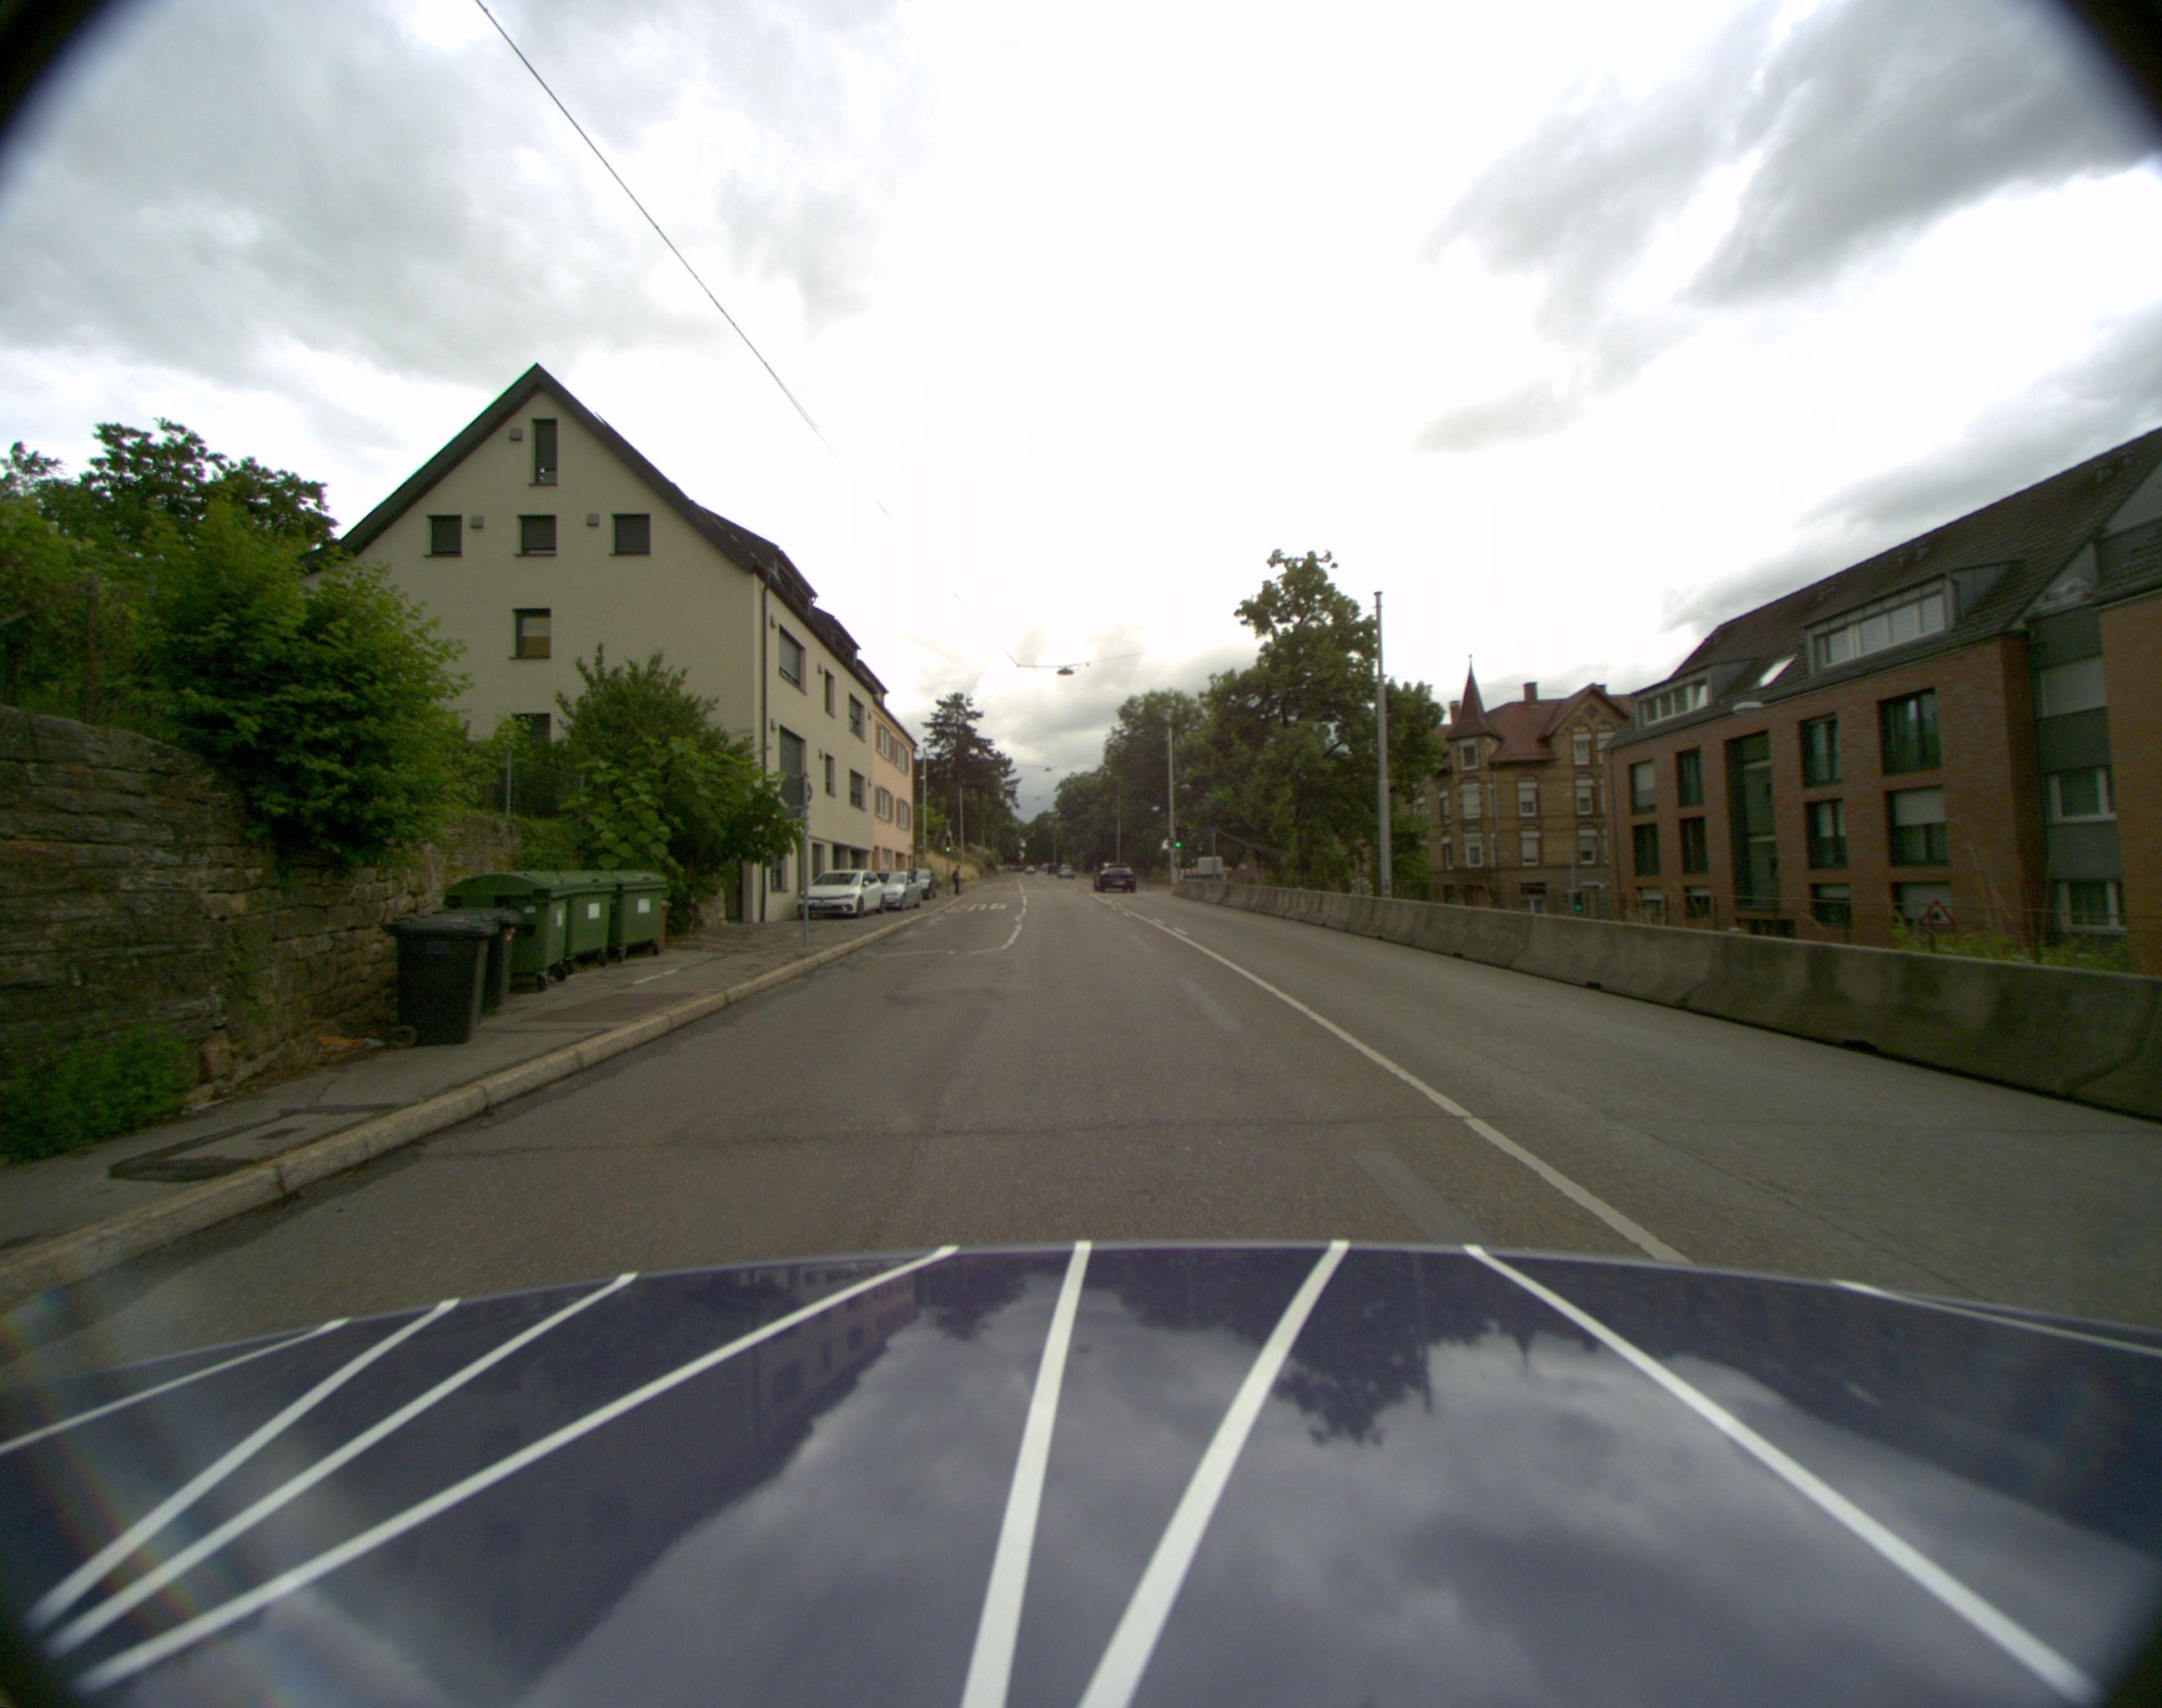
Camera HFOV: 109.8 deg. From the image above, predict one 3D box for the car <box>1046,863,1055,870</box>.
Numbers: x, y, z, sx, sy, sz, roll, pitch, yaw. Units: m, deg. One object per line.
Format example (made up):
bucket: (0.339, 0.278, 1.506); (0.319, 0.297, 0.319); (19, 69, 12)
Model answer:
car: (-6.652, 2.627, 164.282); (1.789, 1.565, 4.279); (0, 0, -5)

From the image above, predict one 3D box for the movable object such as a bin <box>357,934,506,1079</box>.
movable object such as a bin: (-5.482, 1.256, 6.462); (0.745, 1.052, 0.678); (-1, 0, -19)

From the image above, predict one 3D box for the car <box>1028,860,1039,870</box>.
car: (-7.914, 1.820, 127.429); (1.789, 1.565, 4.279); (0, 0, -5)

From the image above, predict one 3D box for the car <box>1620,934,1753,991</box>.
car: (21.928, 3.893, 27.748); (1.798, 1.501, 4.001); (1, -1, 3)

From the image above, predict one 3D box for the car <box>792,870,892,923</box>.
car: (-7.144, 1.234, 23.163); (1.799, 1.415, 4.005); (1, 0, 0)

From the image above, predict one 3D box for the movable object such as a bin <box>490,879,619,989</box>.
movable object such as a bin: (-7.557, 1.105, 10.981); (1.050, 1.436, 1.204); (-1, 0, -6)

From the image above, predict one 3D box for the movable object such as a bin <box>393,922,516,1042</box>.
movable object such as a bin: (-6.294, 1.257, 7.676); (0.745, 1.052, 0.678); (-1, 0, -19)

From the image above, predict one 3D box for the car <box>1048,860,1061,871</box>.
car: (-4.369, 1.930, 124.406); (1.789, 1.735, 4.426); (0, 0, -6)

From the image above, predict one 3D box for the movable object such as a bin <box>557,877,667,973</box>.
movable object such as a bin: (-7.587, 1.111, 12.362); (1.050, 1.436, 1.205); (-1, 0, -3)

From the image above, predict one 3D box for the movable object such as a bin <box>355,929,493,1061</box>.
movable object such as a bin: (-6.025, 1.261, 7.014); (0.745, 1.052, 0.678); (-1, 0, -19)

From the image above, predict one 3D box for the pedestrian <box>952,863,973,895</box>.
pedestrian: (-6.581, 1.383, 42.201); (0.872, 1.686, 0.890); (-4, 0, 2)

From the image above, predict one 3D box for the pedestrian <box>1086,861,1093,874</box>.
pedestrian: (1.170, 1.880, 105.503); (0.791, 1.763, 1.208); (-4, 0, -7)

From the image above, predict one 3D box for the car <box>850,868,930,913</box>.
car: (-6.985, 1.297, 28.331); (1.799, 1.442, 4.718); (2, -1, -1)

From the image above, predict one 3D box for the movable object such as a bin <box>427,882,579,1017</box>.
movable object such as a bin: (-6.964, 1.088, 9.266); (1.052, 1.436, 1.416); (-1, 0, -19)

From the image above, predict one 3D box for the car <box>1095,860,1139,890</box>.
car: (1.960, 1.174, 42.190); (1.987, 1.565, 4.374); (1, -1, -3)

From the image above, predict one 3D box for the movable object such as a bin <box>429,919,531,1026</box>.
movable object such as a bin: (-6.549, 1.271, 8.309); (0.712, 1.052, 0.546); (-1, 1, -19)

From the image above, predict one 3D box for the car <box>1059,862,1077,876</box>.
car: (-1.479, 1.664, 85.413); (1.725, 1.436, 4.157); (-1, 0, -4)

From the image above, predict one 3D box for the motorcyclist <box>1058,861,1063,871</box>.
motorcyclist: (-3.090, 1.728, 113.393); (0.787, 1.507, 0.668); (0, 0, -5)

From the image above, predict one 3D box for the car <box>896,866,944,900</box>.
car: (-7.822, 1.369, 37.132); (1.686, 1.442, 3.999); (3, -1, -4)

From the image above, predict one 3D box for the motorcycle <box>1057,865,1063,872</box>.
motorcycle: (-3.080, 2.159, 113.283); (0.787, 1.138, 2.056); (0, -1, -5)

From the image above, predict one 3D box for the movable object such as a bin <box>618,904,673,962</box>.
movable object such as a bin: (-7.618, 1.368, 13.317); (0.596, 0.936, 0.640); (-1, 0, -3)
